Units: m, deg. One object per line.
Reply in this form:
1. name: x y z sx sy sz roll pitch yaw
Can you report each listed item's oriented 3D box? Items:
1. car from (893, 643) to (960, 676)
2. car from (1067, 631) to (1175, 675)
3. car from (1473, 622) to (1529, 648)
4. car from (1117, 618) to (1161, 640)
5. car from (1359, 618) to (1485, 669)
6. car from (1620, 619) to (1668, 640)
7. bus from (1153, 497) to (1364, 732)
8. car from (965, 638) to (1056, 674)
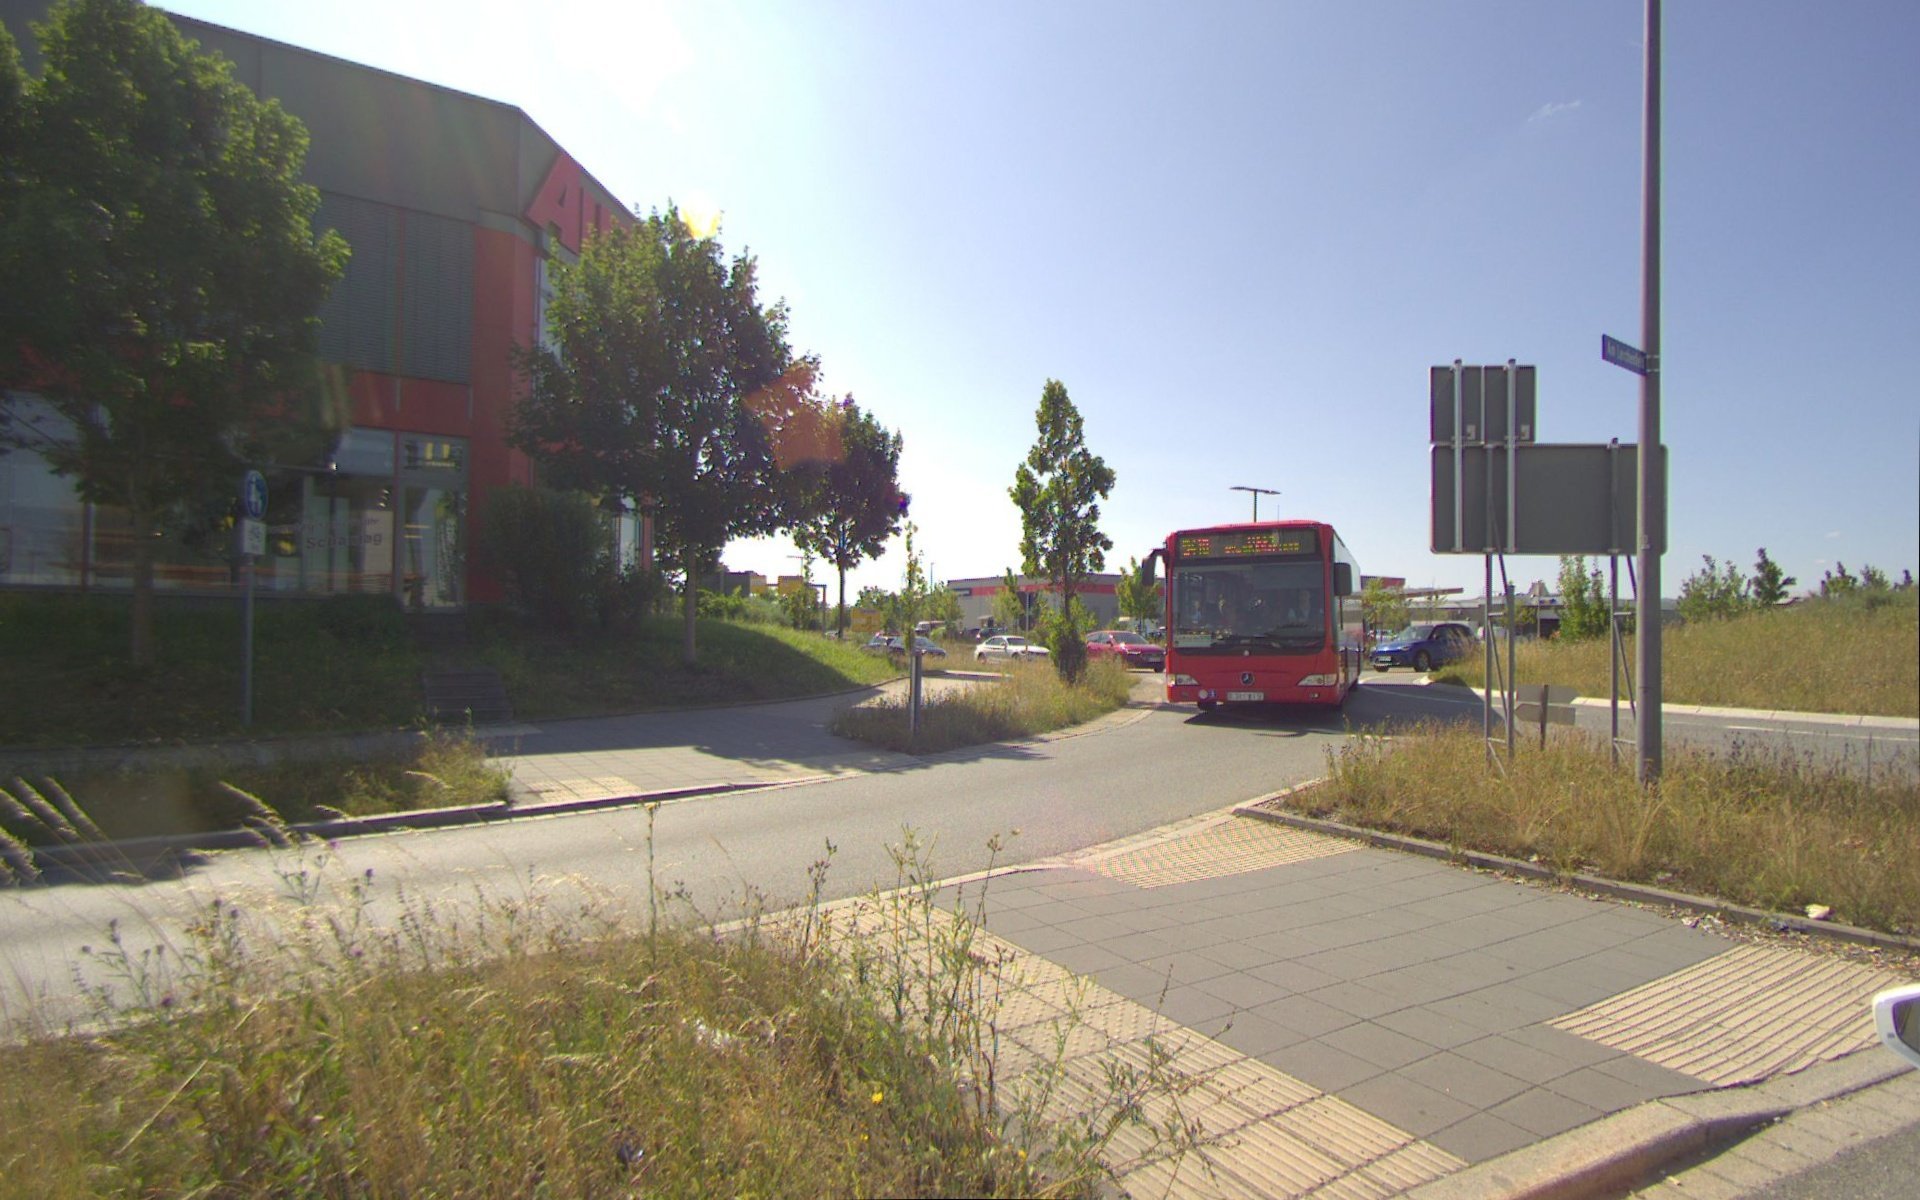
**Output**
1. car: -1.725 2.955 50.731 1.627 1.507 3.868 0 -1 -34
2. car: 5.684 1.851 35.961 1.784 1.434 4.091 0 -2 -26
3. car: 44.411 2.872 82.391 5.083 2.040 1.981 2 -2 -34
4. car: 17.241 2.772 96.687 3.960 2.040 1.981 2 -2 -35
5. car: 15.905 1.485 34.543 4.028 1.657 1.844 0 -2 -27
6. car: 58.941 2.536 86.536 3.956 1.754 1.983 2 -2 -32
7. bus: 6.447 0.370 19.966 2.568 3.284 11.875 -2 -2 23
8. car: 2.164 2.414 43.847 1.778 1.434 4.343 2 -3 -33
